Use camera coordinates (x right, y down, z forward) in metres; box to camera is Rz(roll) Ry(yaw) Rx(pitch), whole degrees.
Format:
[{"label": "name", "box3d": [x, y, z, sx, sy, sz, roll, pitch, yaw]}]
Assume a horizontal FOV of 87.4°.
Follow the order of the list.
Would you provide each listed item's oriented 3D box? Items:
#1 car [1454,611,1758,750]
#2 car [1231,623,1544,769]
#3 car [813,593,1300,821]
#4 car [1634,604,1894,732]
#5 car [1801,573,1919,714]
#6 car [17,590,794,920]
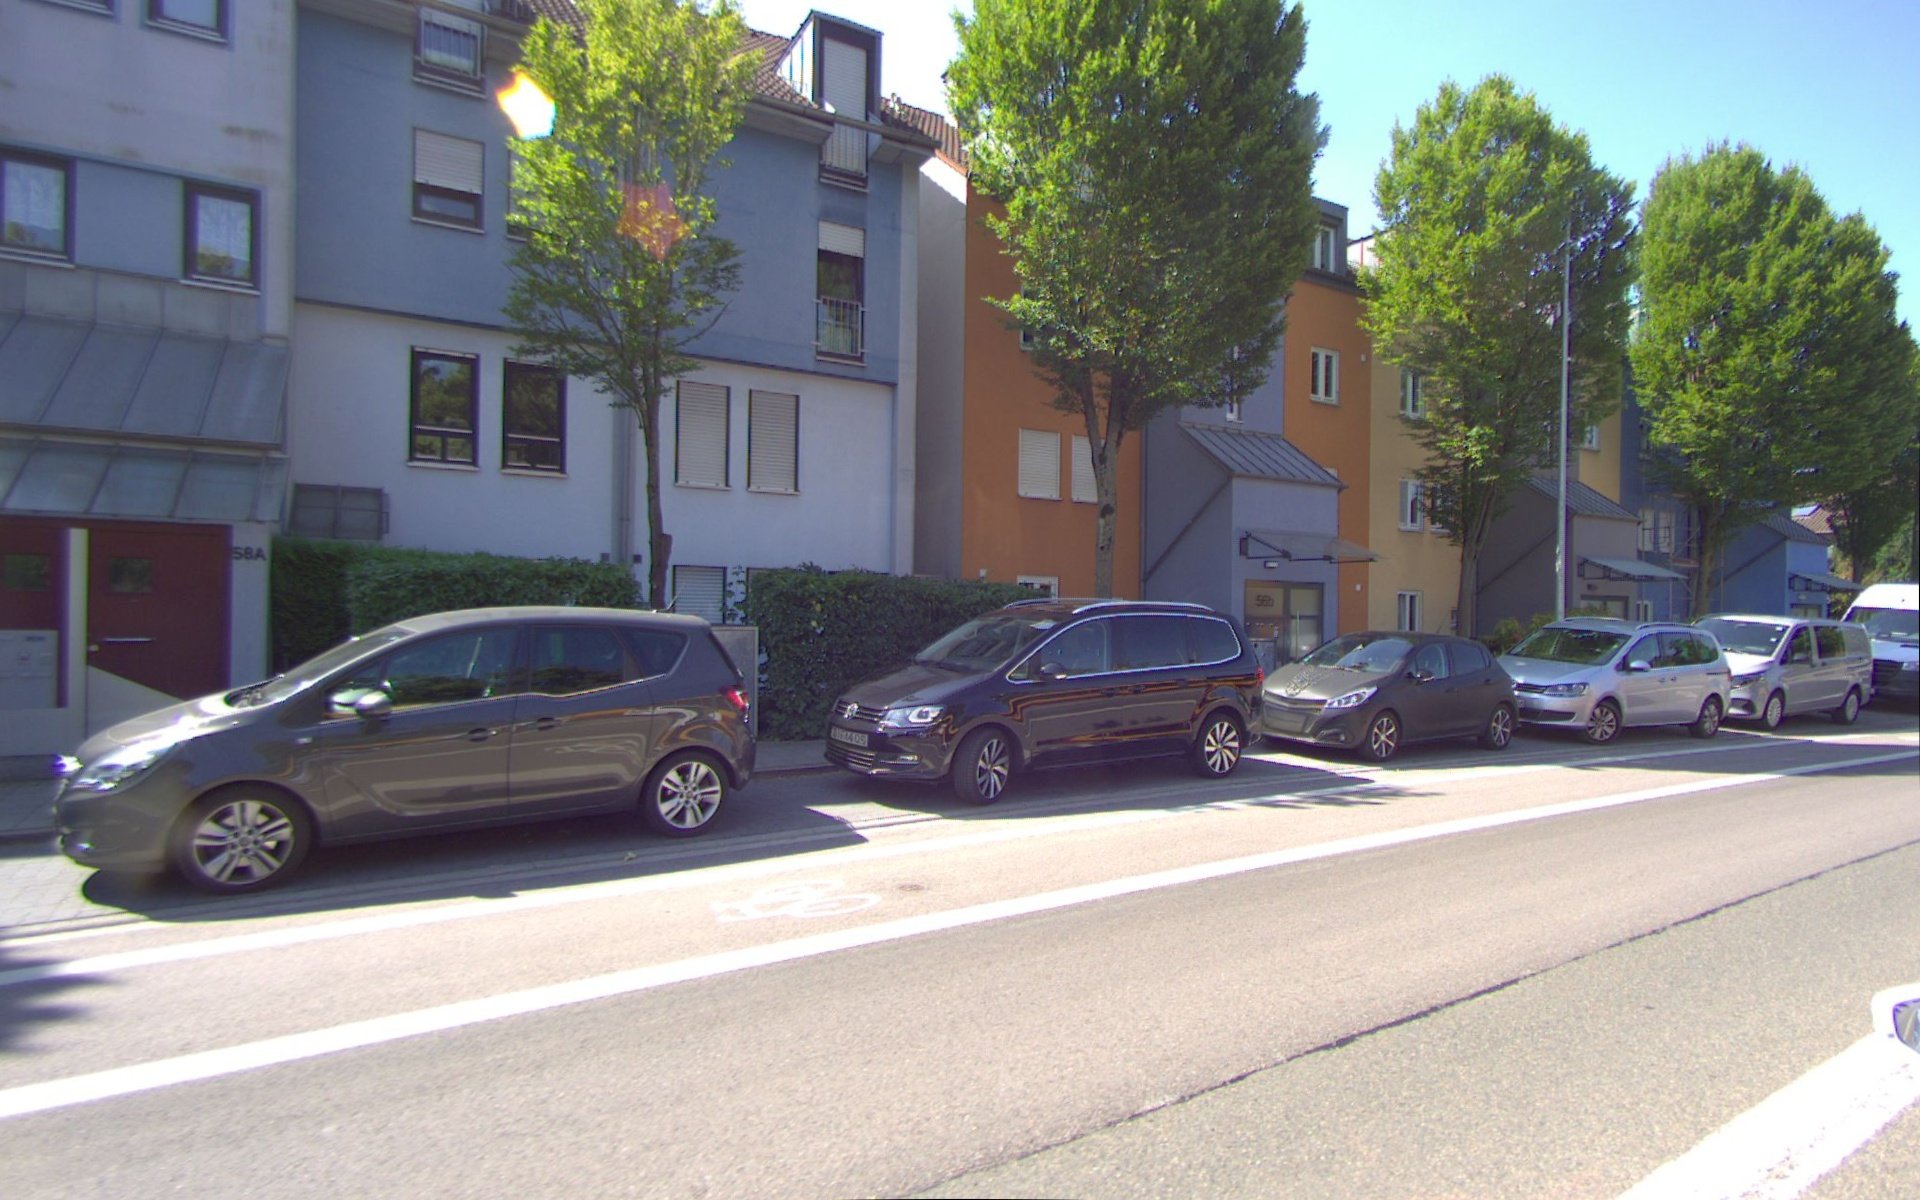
[{"label": "car", "box3d": [9.903, 1.132, 15.306, 4.851, 1.748, 1.792, 1, 2, -30]}, {"label": "car", "box3d": [5.527, 1.119, 12.855, 4.005, 1.494, 1.680, 1, 2, -33]}, {"label": "car", "box3d": [1.121, 0.880, 9.989, 4.822, 1.746, 1.757, 1, 1, -35]}, {"label": "car", "box3d": [14.831, 1.168, 18.451, 5.292, 1.974, 1.910, 2, 2, -31]}, {"label": "car", "box3d": [21.668, 0.933, 22.406, 7.070, 2.750, 1.985, 2, 2, -30]}, {"label": "car", "box3d": [-3.490, 0.821, 7.021, 4.268, 1.647, 1.706, 1, 1, -34]}]
